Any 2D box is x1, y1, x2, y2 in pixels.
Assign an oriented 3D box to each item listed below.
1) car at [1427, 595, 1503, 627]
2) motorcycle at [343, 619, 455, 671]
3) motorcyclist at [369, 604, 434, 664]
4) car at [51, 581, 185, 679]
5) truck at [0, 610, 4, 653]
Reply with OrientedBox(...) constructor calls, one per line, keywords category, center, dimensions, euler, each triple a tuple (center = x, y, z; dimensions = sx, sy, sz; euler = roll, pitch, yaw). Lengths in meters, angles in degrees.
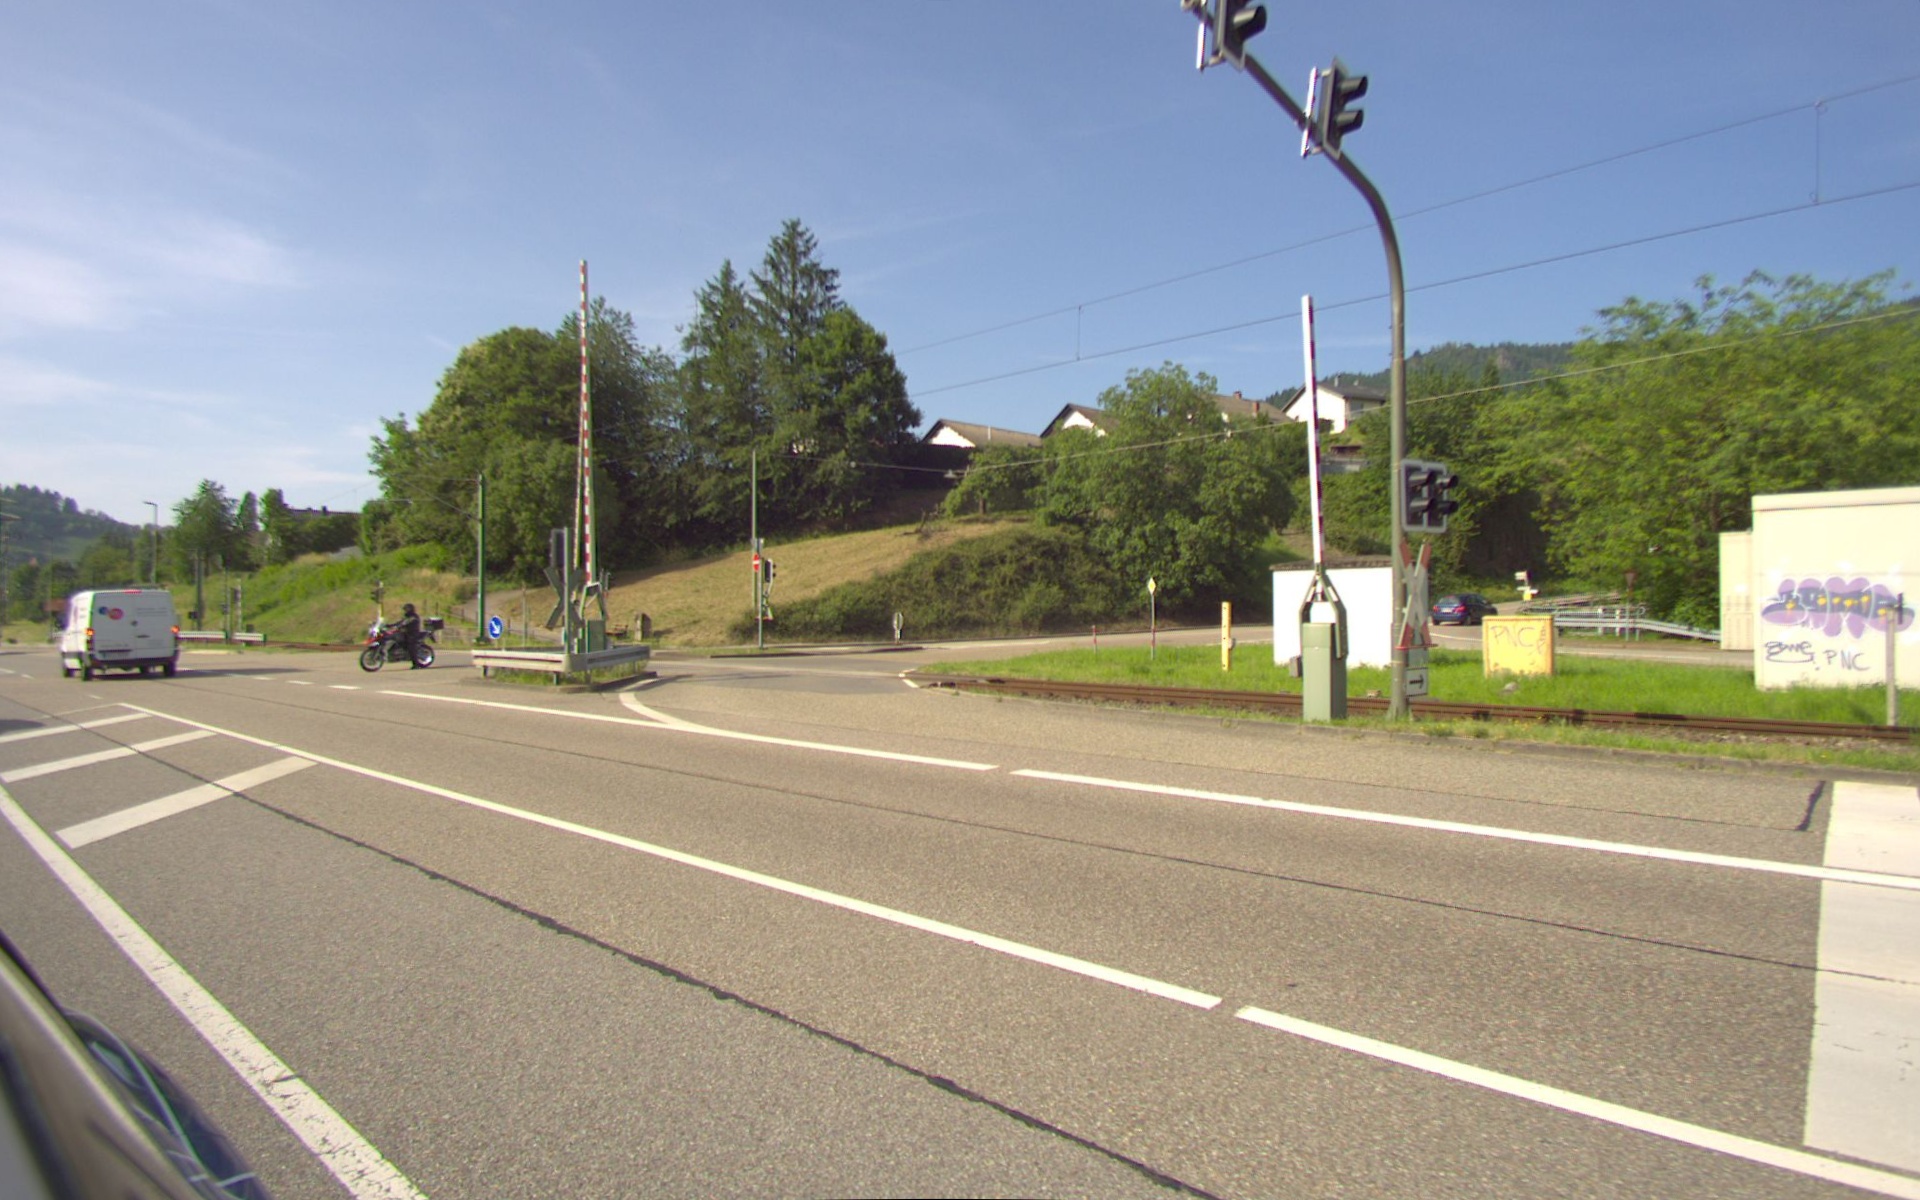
OrientedBox(category="car", center=(25.436, 0.572, 50.934), dimensions=(3.936, 1.541, 1.954), euler=(0, -1, -39))
OrientedBox(category="motorcycle", center=(-15.282, 1.196, 27.661), dimensions=(1.000, 1.278, 2.570), euler=(-1, 0, 26))
OrientedBox(category="motorcyclist", center=(-15.266, 0.924, 27.697), dimensions=(0.987, 1.556, 1.175), euler=(-1, 1, 27))
OrientedBox(category="car", center=(-23.199, 0.798, 27.804), dimensions=(5.226, 2.455, 2.097), euler=(-2, -1, 42))
OrientedBox(category="truck", center=(-53.840, 1.742, 54.591), dimensions=(6.273, 2.283, 2.423), euler=(-2, 0, 39))
